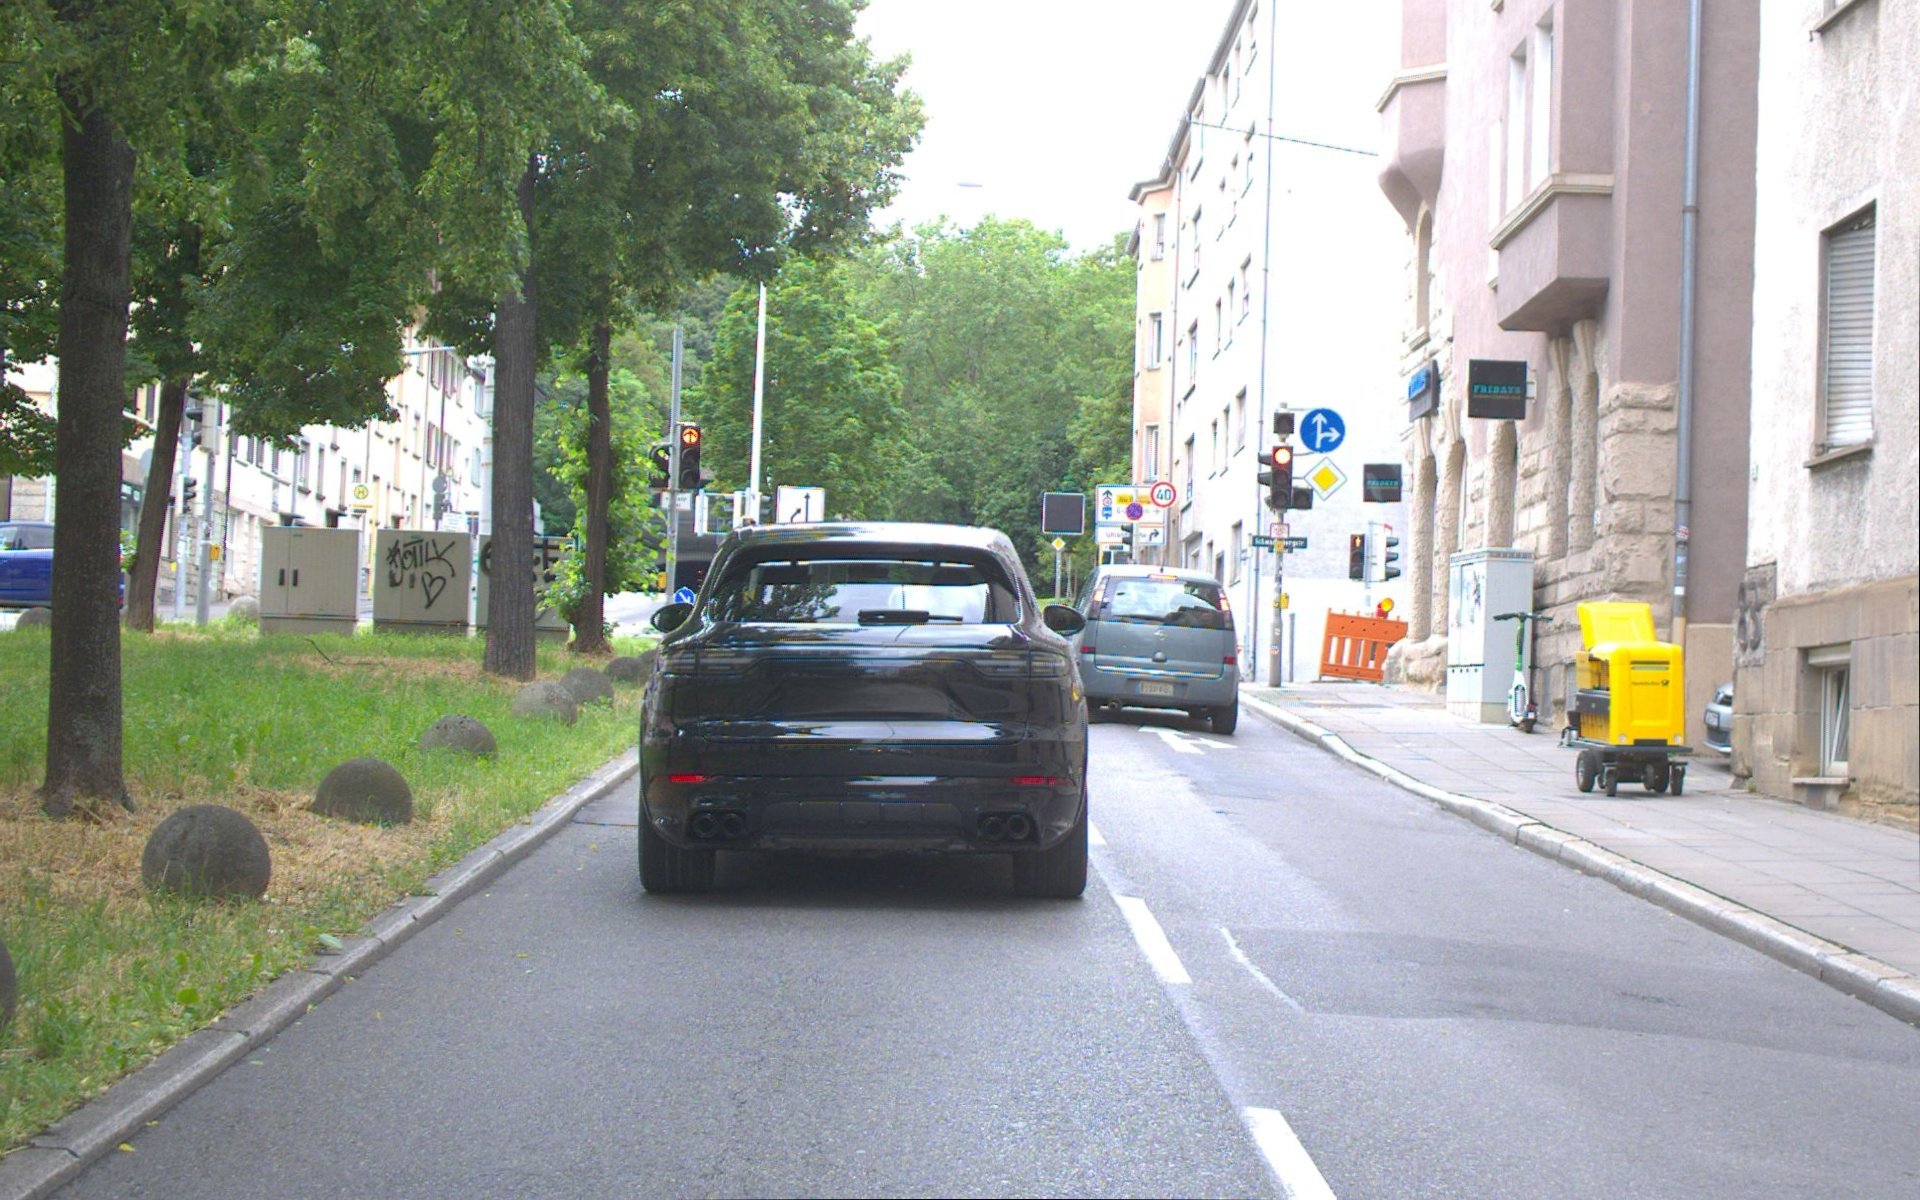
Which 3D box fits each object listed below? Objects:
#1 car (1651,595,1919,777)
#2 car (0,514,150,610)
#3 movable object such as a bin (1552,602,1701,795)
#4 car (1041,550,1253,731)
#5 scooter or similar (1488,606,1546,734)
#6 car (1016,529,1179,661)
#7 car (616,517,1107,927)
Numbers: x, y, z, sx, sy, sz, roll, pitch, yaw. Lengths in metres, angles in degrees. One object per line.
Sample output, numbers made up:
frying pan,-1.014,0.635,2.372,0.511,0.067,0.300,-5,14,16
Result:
car,8.314,0.780,30.372,3.987,1.398,1.800,2,3,0
car,-16.002,-0.693,58.193,4.204,1.505,1.800,3,1,-6
movable object such as a bin,5.083,0.733,26.322,0.719,1.416,1.693,1,0,-3
car,1.850,0.370,35.120,1.752,1.588,3.631,6,1,-1
scooter or similar,5.479,0.678,33.862,0.401,1.184,1.354,1,2,3
car,1.787,-0.064,45.990,1.994,1.647,4.000,1,0,0
car,-0.401,0.468,16.241,1.994,1.647,4.000,1,1,0
